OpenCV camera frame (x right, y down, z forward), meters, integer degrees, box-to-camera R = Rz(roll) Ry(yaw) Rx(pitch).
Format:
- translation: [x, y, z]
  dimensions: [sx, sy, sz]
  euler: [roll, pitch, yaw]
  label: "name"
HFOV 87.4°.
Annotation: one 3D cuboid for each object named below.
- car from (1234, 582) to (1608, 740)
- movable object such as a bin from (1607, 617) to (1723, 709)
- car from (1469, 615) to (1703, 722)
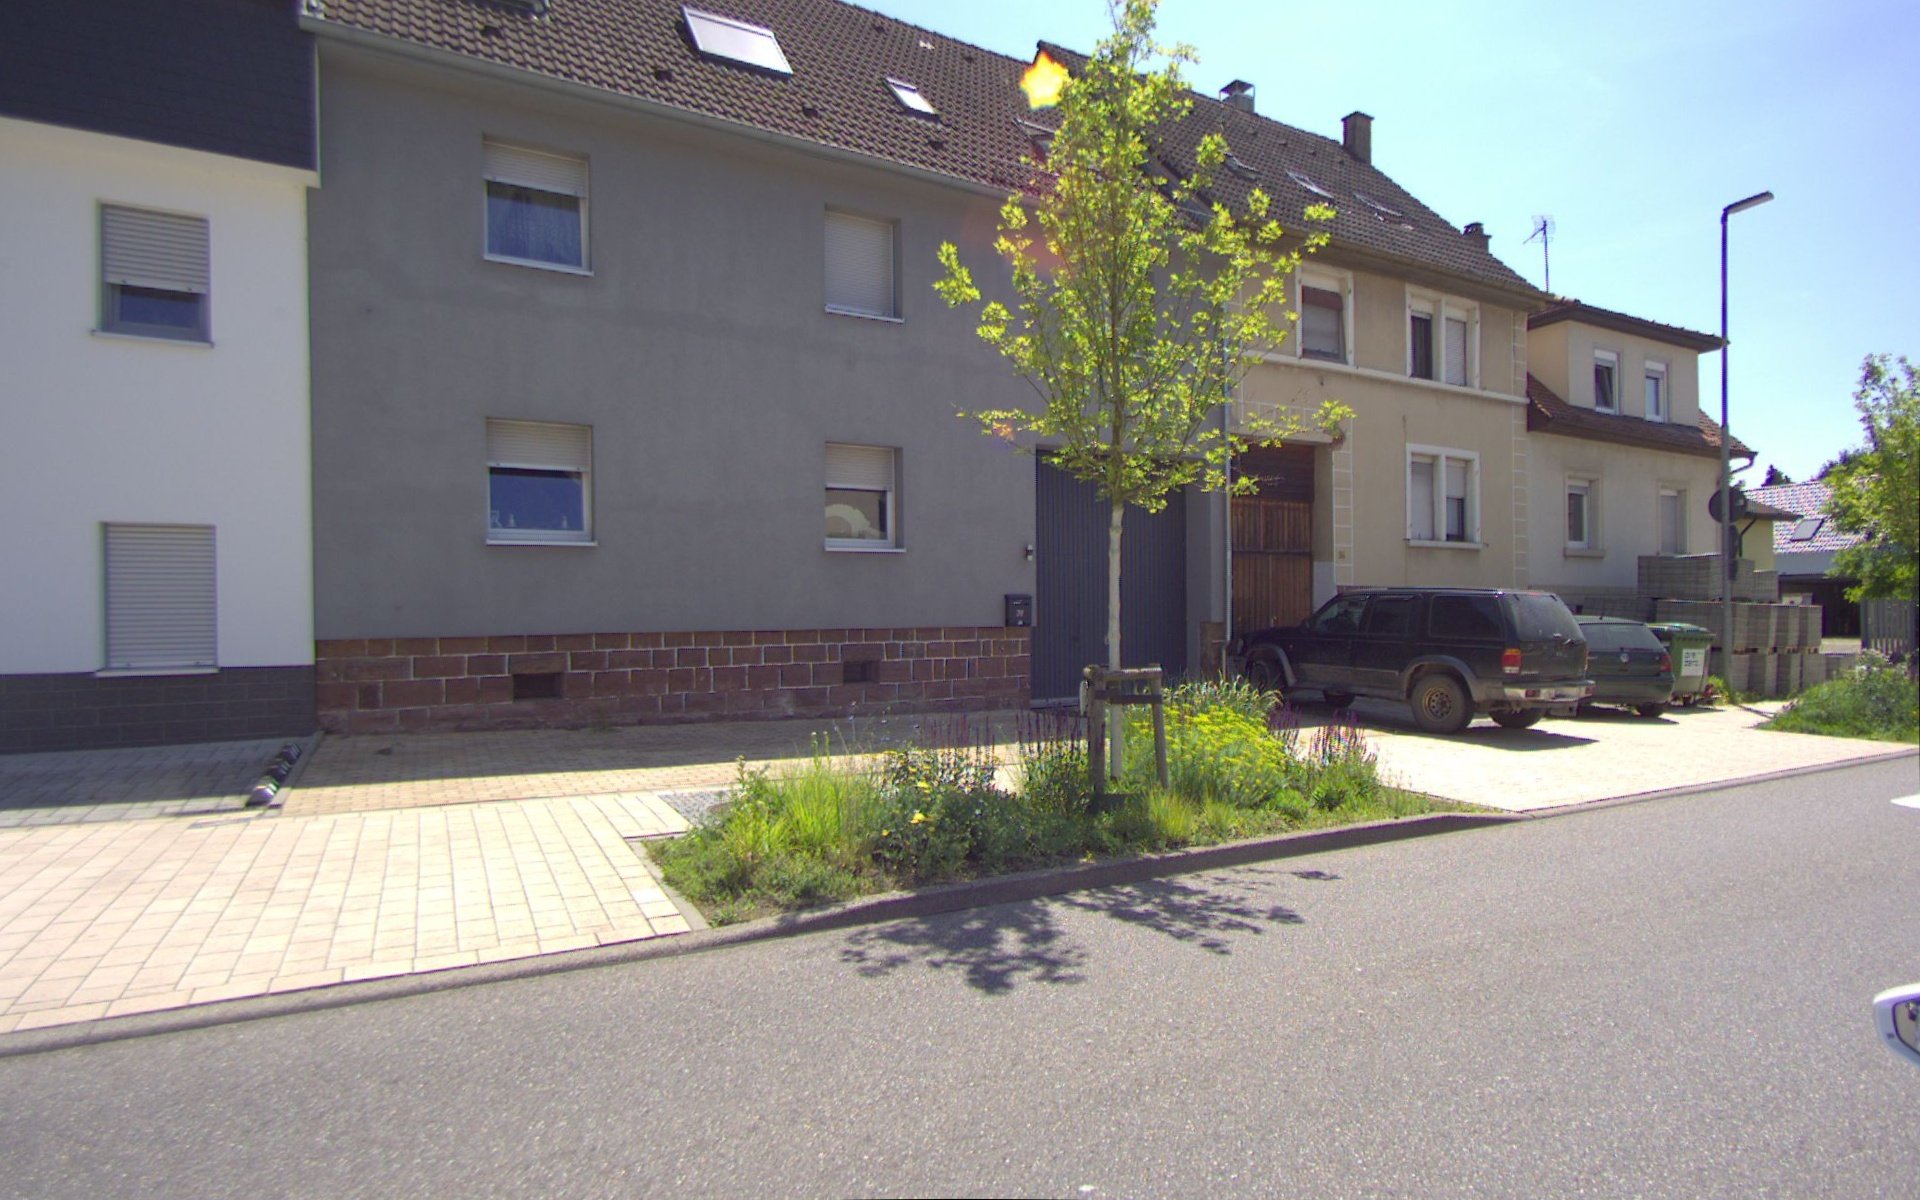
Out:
- translation: [6.003, 0.698, 13.654]
  dimensions: [1.856, 1.774, 4.374]
  euler: [1, 0, -30]
  label: "car"
- translation: [11.359, 0.980, 16.204]
  dimensions: [1.385, 1.337, 0.986]
  euler: [-2, 2, -26]
  label: "movable object such as a bin"
- translation: [9.574, 0.974, 15.713]
  dimensions: [1.664, 1.458, 3.553]
  euler: [1, -1, 5]
  label: "car"
